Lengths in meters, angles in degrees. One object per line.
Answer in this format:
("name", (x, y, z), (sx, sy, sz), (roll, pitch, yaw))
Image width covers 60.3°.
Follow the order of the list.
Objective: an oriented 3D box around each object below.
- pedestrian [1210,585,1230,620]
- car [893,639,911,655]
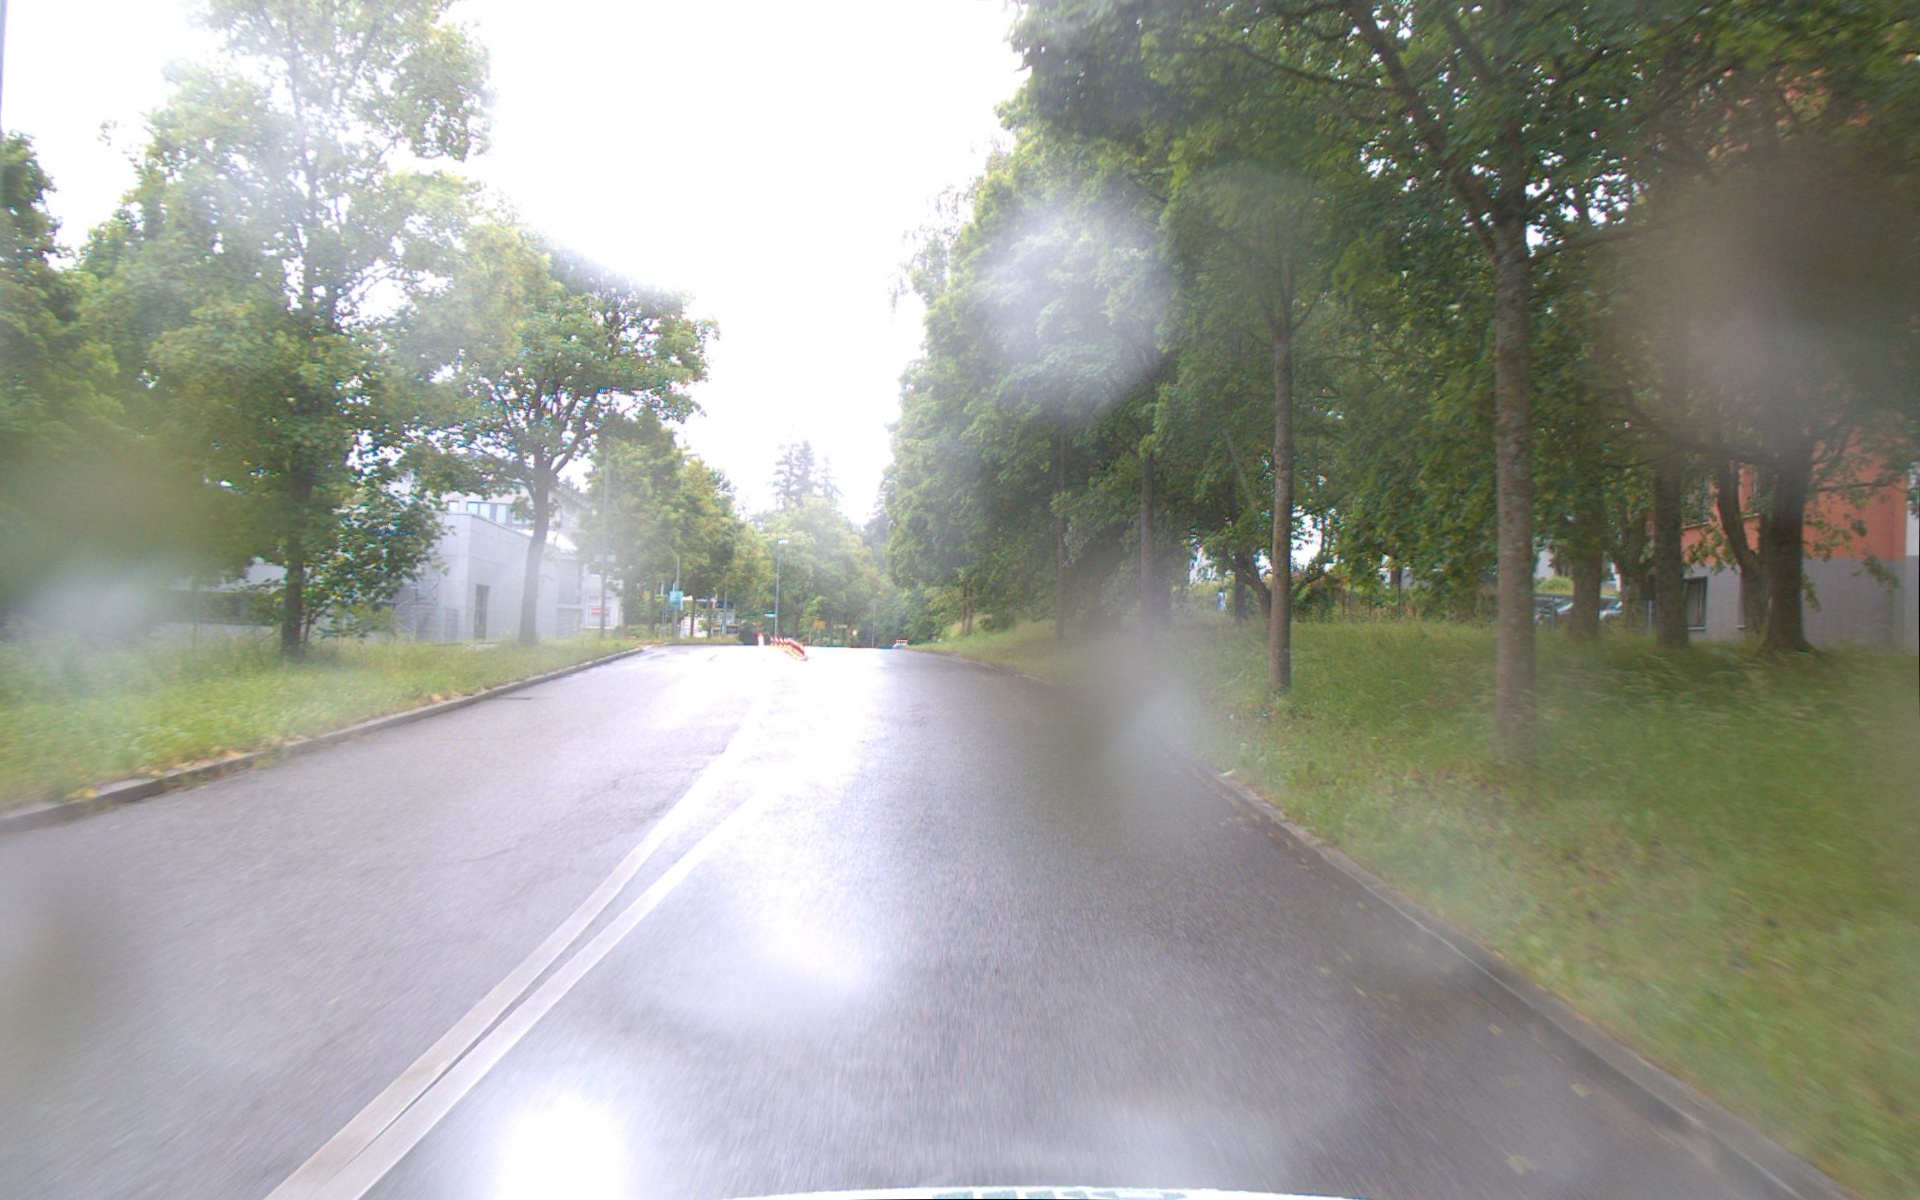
("pedestrian", (9.793, 0.105, 62.412), (0.641, 1.306, 0.624), (0, 0, -1))
("car", (-5.492, 4.458, 156.643), (1.701, 1.537, 3.998), (0, -2, -2))
